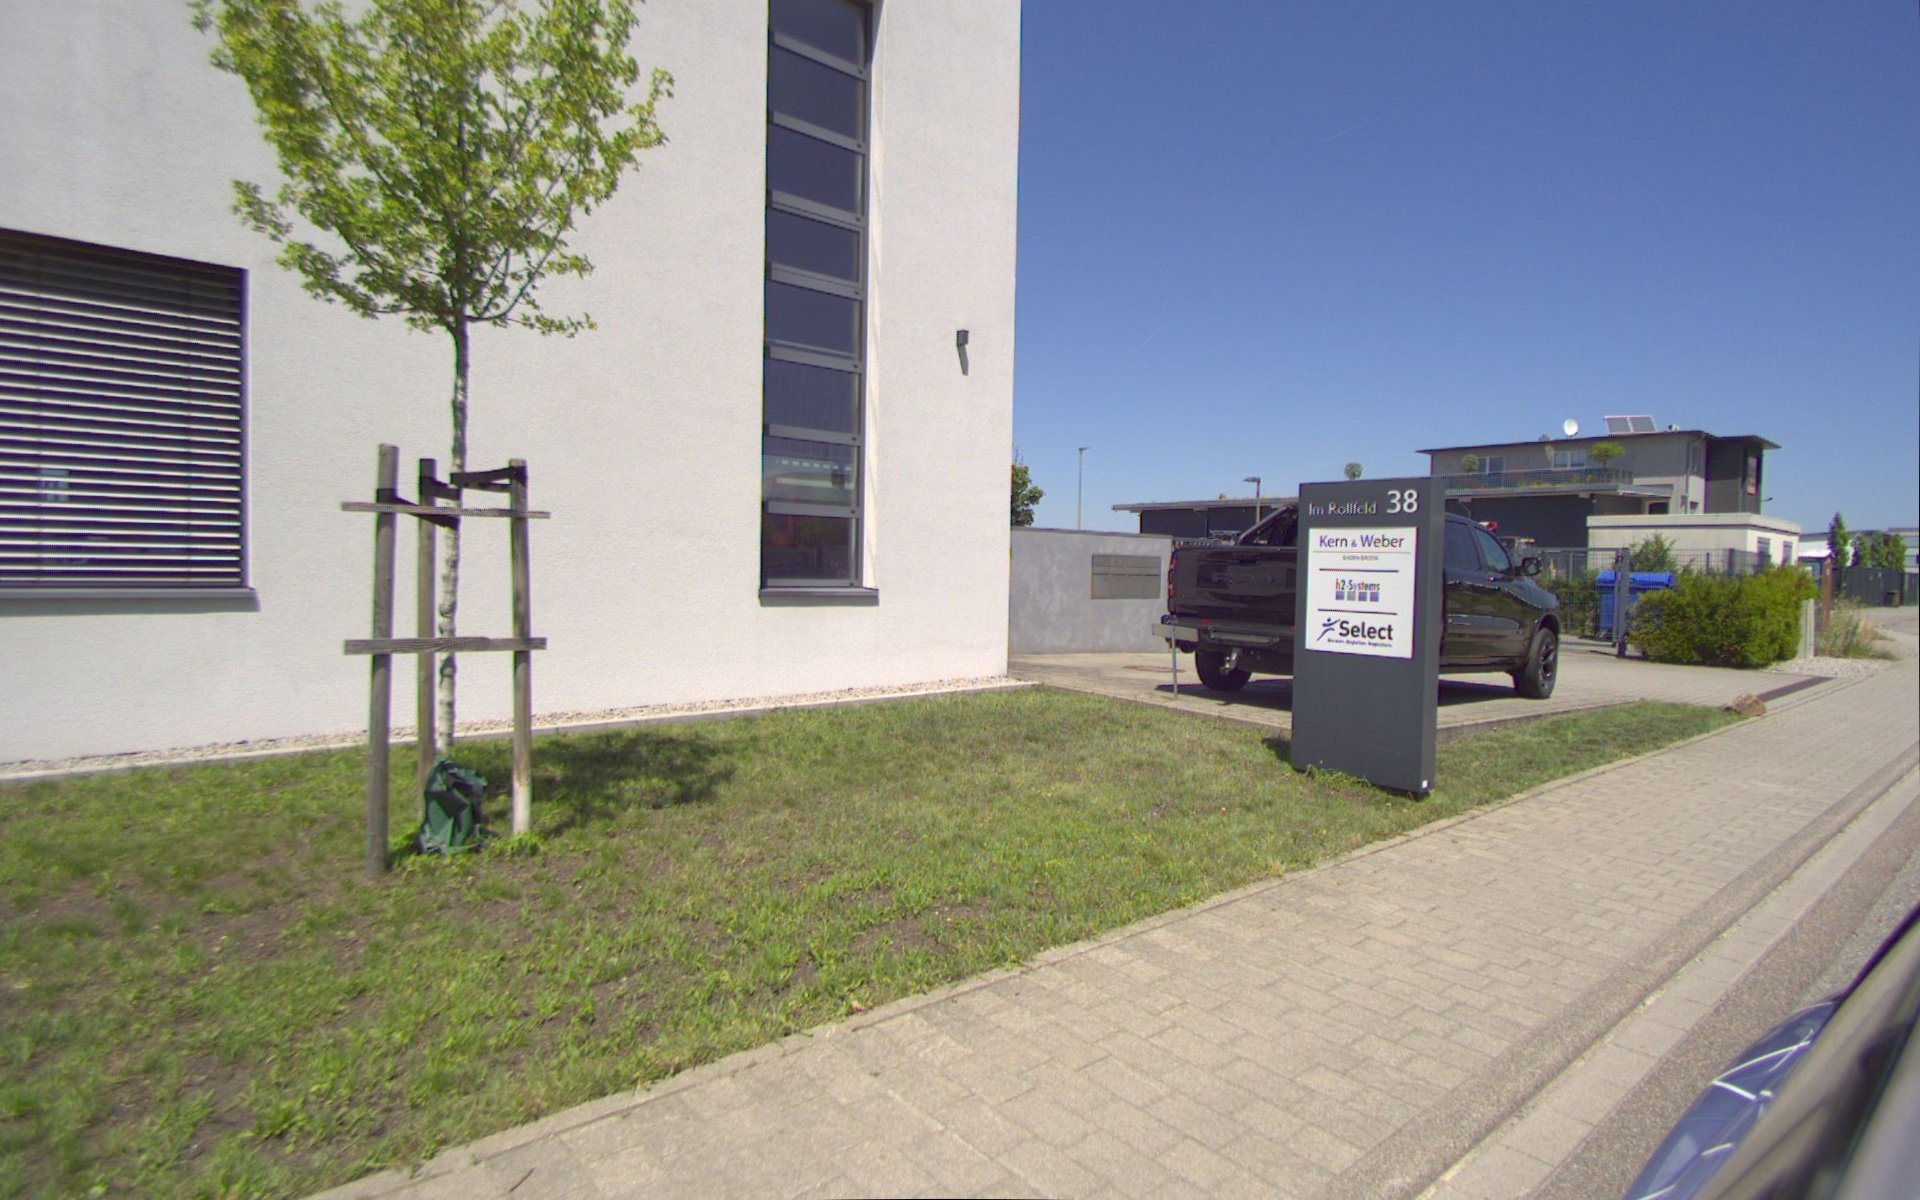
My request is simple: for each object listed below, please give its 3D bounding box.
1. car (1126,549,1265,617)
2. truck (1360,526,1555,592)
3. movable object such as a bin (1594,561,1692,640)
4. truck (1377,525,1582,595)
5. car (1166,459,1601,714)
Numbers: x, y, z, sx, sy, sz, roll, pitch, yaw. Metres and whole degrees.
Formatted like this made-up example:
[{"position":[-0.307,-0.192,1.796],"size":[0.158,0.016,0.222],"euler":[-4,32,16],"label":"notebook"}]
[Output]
[{"position":[6.640,-0.538,28.349],"size":[3.932,1.698,1.858],"euler":[-4,4,-41],"label":"car"},{"position":[26.085,-2.108,53.578],"size":[2.642,3.216,8.963],"euler":[-1,2,-40],"label":"truck"},{"position":[14.029,-0.022,20.792],"size":[1.150,1.541,1.386],"euler":[0,2,-41],"label":"movable object such as a bin"},{"position":[24.509,-1.845,48.207],"size":[2.579,3.059,8.352],"euler":[-1,2,-40],"label":"truck"},{"position":[4.755,-0.084,10.762],"size":[5.700,2.039,1.997],"euler":[2,1,-42],"label":"car"}]
